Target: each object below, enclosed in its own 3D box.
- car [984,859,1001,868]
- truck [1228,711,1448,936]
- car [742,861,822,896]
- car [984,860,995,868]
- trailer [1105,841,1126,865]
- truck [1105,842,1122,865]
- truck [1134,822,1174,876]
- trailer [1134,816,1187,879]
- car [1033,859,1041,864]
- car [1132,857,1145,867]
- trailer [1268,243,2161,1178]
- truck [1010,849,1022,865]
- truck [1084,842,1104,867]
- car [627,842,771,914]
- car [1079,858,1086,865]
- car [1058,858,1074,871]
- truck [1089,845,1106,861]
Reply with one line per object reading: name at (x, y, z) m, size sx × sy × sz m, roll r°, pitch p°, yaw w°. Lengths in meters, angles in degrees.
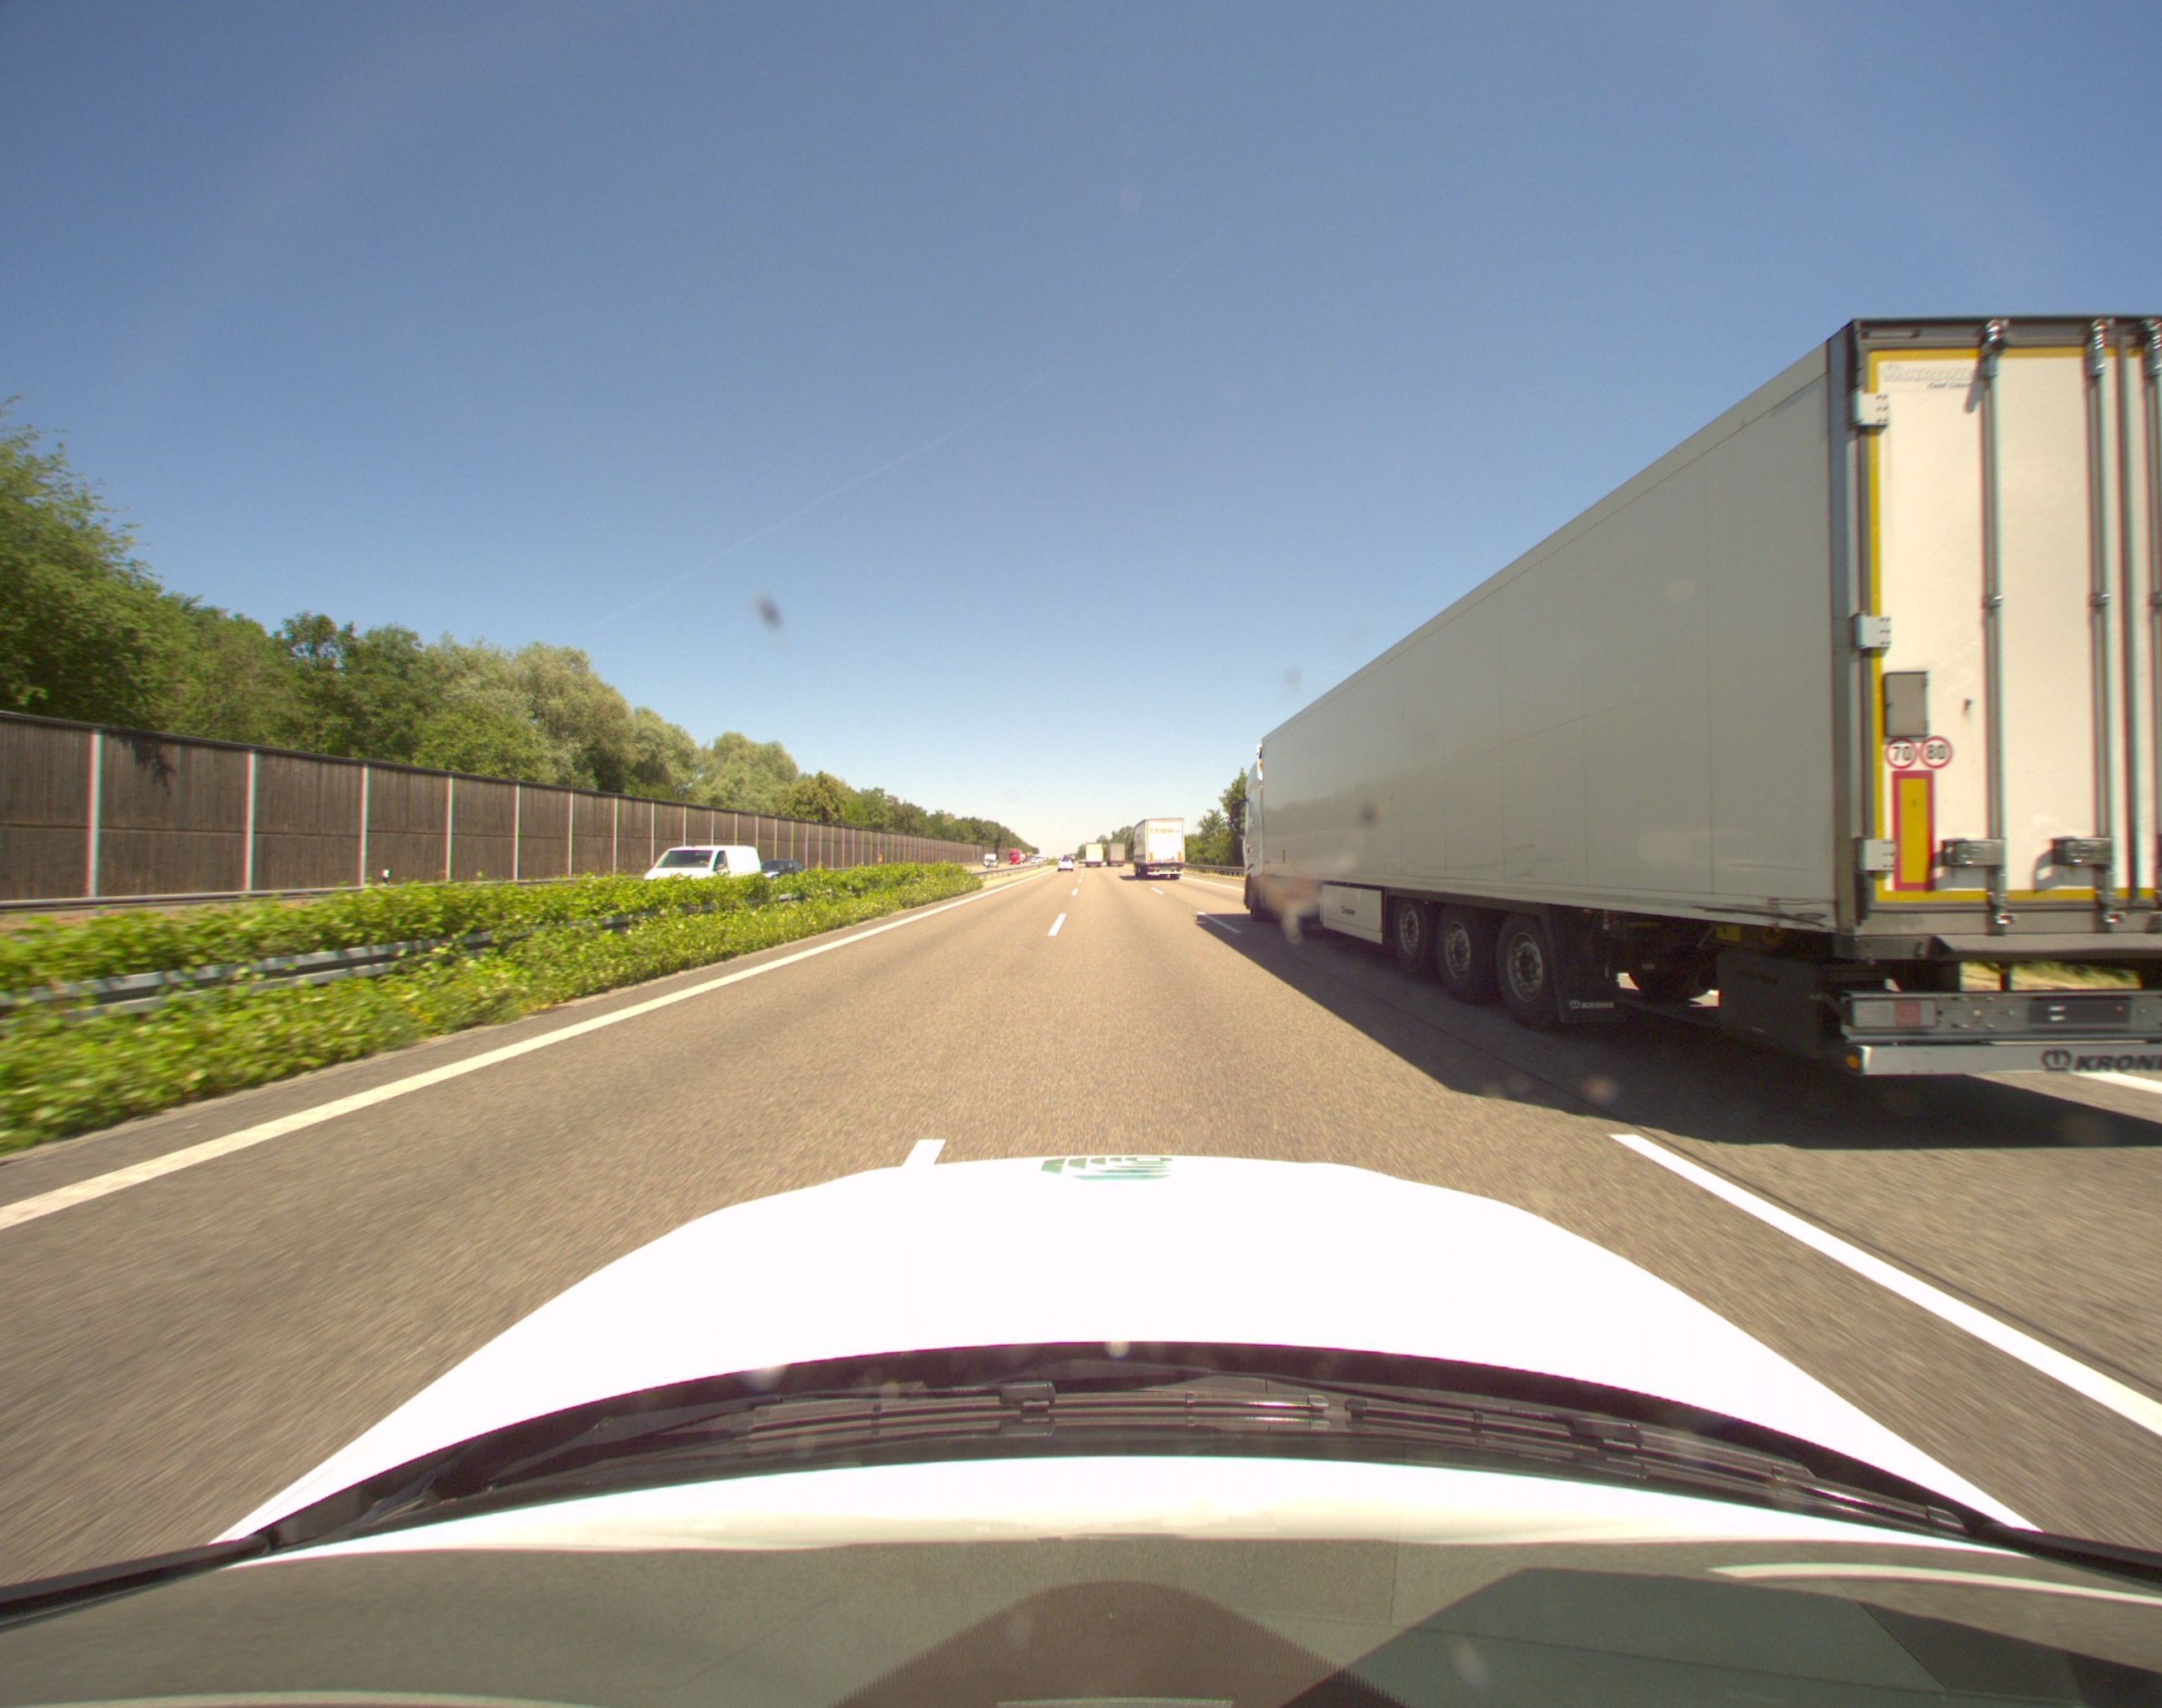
car at (-15.377, 1.674, 142.132) m, size 2.117 × 1.522 × 5.983 m, roll -1°, pitch 0°, yaw 1°
truck at (5.277, -0.549, 18.031) m, size 2.949 × 4.106 × 6.207 m, roll -1°, pitch 0°, yaw 1°
car at (-15.287, 1.187, 41.996) m, size 1.987 × 1.643 × 5.586 m, roll -1°, pitch 0°, yaw 0°
car at (-19.605, 2.132, 174.000) m, size 1.893 × 1.711 × 4.903 m, roll -1°, pitch 0°, yaw -1°
trailer at (6.274, -0.058, 147.998) m, size 2.697 × 4.216 × 13.198 m, roll 0°, pitch -1°, yaw -2°
truck at (6.057, -0.020, 153.489) m, size 2.685 × 4.216 × 7.830 m, roll 0°, pitch -1°, yaw -2°
truck at (5.724, -0.353, 65.080) m, size 2.697 × 4.088 × 6.966 m, roll 0°, pitch -1°, yaw 1°
trailer at (5.604, -0.364, 59.776) m, size 2.698 × 4.088 × 14.152 m, roll 0°, pitch -1°, yaw 1°
car at (-12.185, 2.112, 225.540) m, size 1.893 × 1.521 × 4.417 m, roll -1°, pitch 0°, yaw 0°
car at (9.237, 1.304, 131.587) m, size 1.849 × 1.617 × 3.999 m, roll -1°, pitch -1°, yaw 0°
trailer at (5.101, -0.625, 9.849) m, size 2.949 × 4.106 × 12.533 m, roll -1°, pitch 0°, yaw 1°
truck at (-16.913, 0.800, 211.908) m, size 2.350 × 4.076 × 7.151 m, roll -1°, pitch 0°, yaw 0°
truck at (2.164, 0.100, 138.749) m, size 2.700 × 4.086 × 13.463 m, roll 0°, pitch -1°, yaw -2°
car at (-11.792, 0.698, 25.667) m, size 1.987 × 2.014 × 5.345 m, roll -1°, pitch 0°, yaw 0°
car at (0.442, 1.954, 214.380) m, size 1.848 × 1.617 × 4.001 m, roll -1°, pitch -1°, yaw 2°
car at (-1.792, 1.293, 97.899) m, size 1.850 × 1.486 × 3.997 m, roll -1°, pitch -1°, yaw -1°
truck at (4.562, -0.200, 225.752) m, size 3.368 × 4.304 × 11.432 m, roll 3°, pitch -1°, yaw -4°
